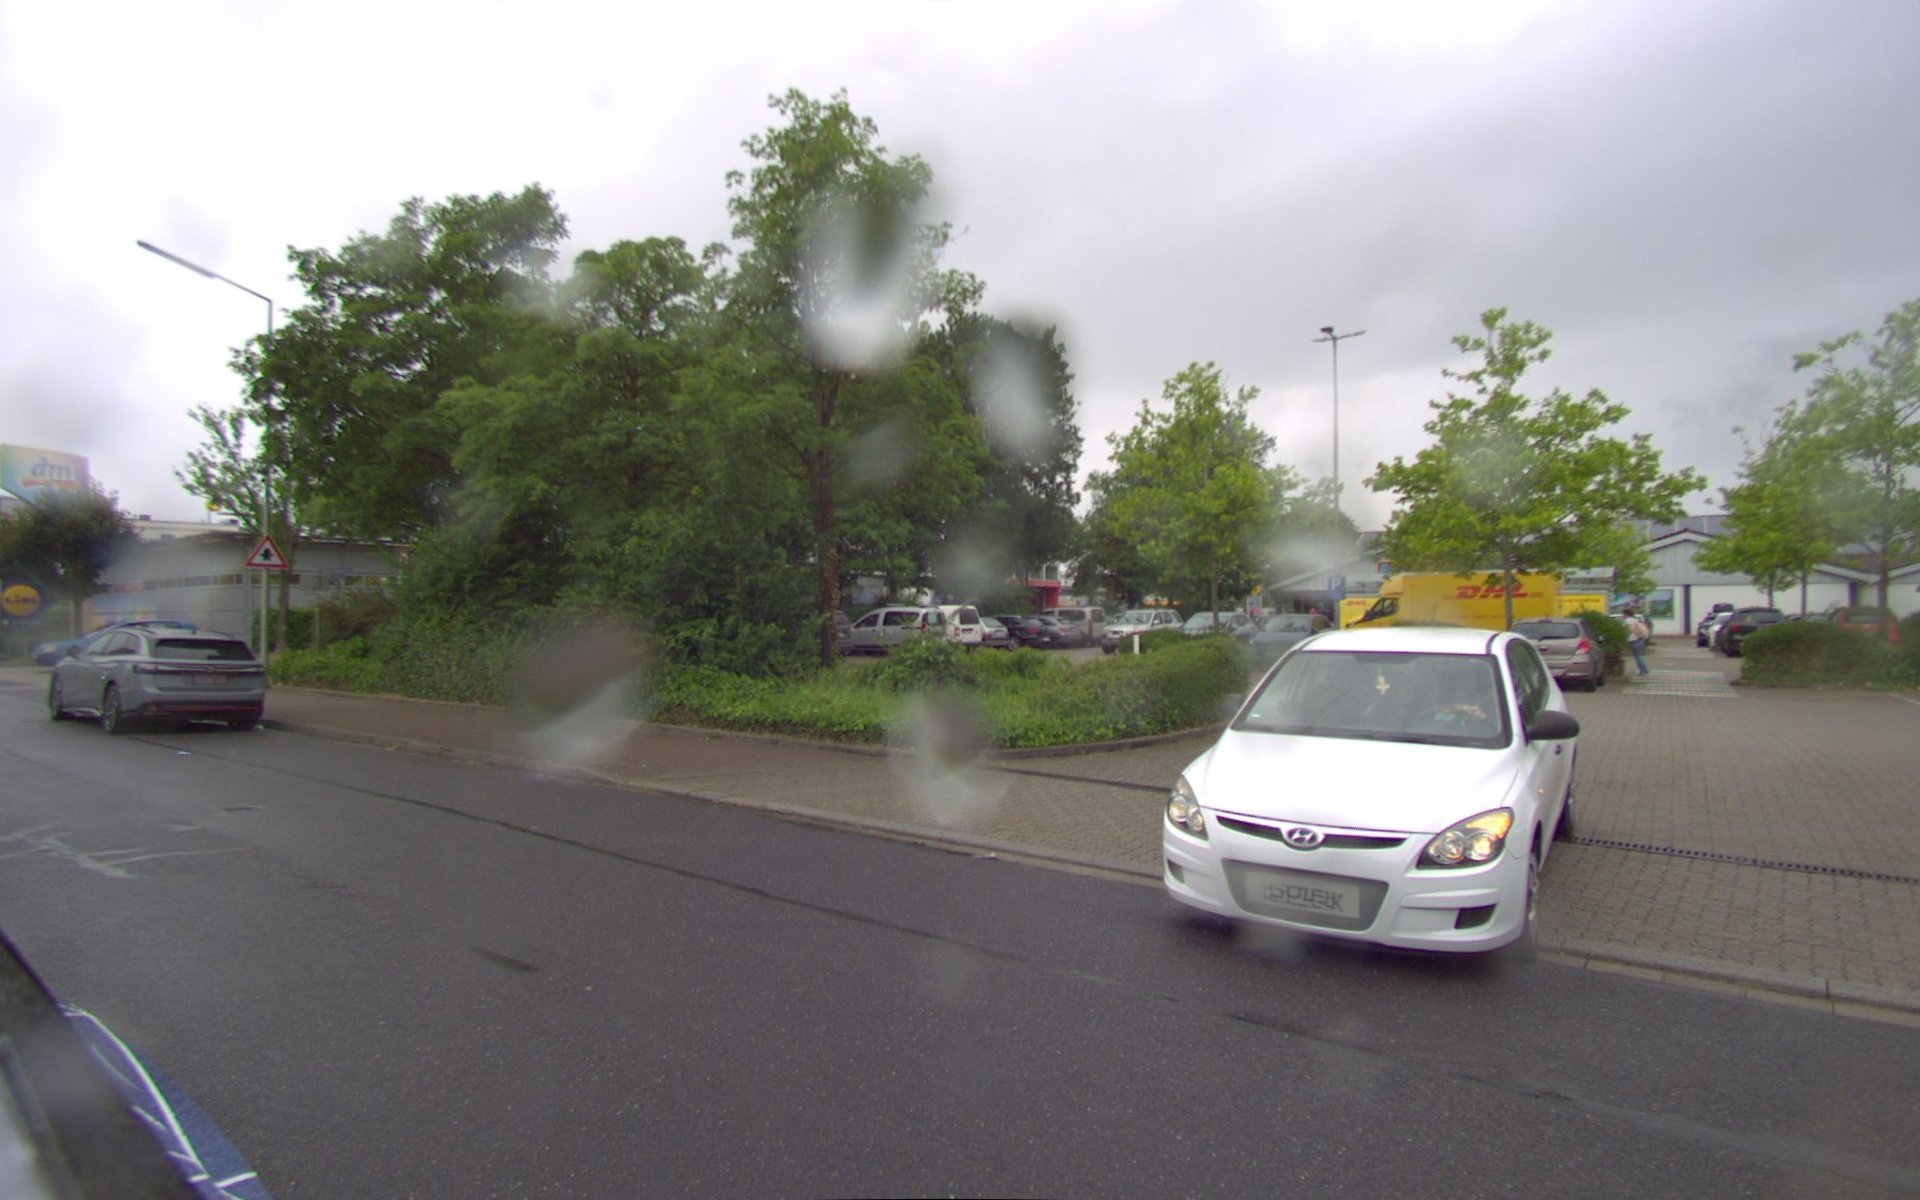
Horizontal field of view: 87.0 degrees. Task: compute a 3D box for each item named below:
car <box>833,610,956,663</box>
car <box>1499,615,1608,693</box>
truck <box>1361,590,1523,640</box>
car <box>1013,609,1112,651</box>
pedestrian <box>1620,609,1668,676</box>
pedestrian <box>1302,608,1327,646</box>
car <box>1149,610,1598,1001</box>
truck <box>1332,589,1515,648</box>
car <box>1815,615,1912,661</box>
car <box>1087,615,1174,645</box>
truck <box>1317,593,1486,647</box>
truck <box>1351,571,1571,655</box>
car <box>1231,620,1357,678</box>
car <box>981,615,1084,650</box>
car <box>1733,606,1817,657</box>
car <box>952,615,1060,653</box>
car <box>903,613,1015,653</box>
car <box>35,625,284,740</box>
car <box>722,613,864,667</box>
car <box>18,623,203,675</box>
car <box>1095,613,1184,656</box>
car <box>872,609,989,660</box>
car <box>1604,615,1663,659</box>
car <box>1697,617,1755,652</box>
[{"bbox_3d":[-2.339,1.272,36.000,3.985,1.807,1.979,-1,-1,31],"label":"car"},{"bbox_3d":[12.591,1.082,21.359,1.708,1.471,4.155,-1,-2,34],"label":"car"},{"bbox_3d":[20.889,0.680,44.004,6.120,2.076,1.976,-1,-2,35],"label":"truck"},{"bbox_3d":[4.614,1.334,45.546,3.985,1.829,1.979,-1,-1,31],"label":"car"},{"bbox_3d":[17.037,1.055,25.221,0.762,1.646,0.774,-1,-1,16],"label":"pedestrian"},{"bbox_3d":[18.921,1.424,53.957,0.910,1.977,1.292,-1,-2,36],"label":"pedestrian"},{"bbox_3d":[2.780,0.823,6.132,1.708,1.471,4.155,-1,-1,34],"label":"car"},{"bbox_3d":[17.698,0.725,38.810,6.120,2.110,1.976,-1,-2,35],"label":"truck"},{"bbox_3d":[28.190,1.156,31.684,1.998,1.356,3.948,-1,-2,39],"label":"car"},{"bbox_3d":[8.749,1.530,52.082,3.985,1.497,1.979,-1,-1,31],"label":"car"},{"bbox_3d":[18.140,0.852,41.731,6.120,2.076,1.976,-1,-2,35],"label":"truck"},{"bbox_3d":[16.864,0.471,34.326,6.388,2.621,1.974,-1,-2,39],"label":"truck"},{"bbox_3d":[9.259,1.298,27.916,1.998,1.431,3.946,-2,-2,40],"label":"car"},{"bbox_3d":[3.132,1.384,43.584,3.985,1.431,1.979,-1,-1,31],"label":"car"},{"bbox_3d":[26.305,0.998,32.718,1.998,1.533,3.948,-1,-2,39],"label":"car"},{"bbox_3d":[1.883,1.388,41.556,3.985,1.497,1.979,-1,-1,31],"label":"car"},{"bbox_3d":[-0.055,1.264,39.791,3.985,1.497,1.979,-1,-1,31],"label":"car"},{"bbox_3d":[-12.632,1.223,15.873,4.738,1.540,1.792,-1,-5,36],"label":"car"},{"bbox_3d":[-5.198,1.214,31.493,3.978,1.586,1.983,-1,-1,26],"label":"car"},{"bbox_3d":[-25.366,1.438,30.348,1.733,1.452,3.951,-2,-3,36],"label":"car"},{"bbox_3d":[7.002,1.308,39.164,2.020,1.562,4.248,-1,-1,31],"label":"car"},{"bbox_3d":[-1.115,1.267,37.772,3.985,1.807,1.979,-1,-1,31],"label":"car"},{"bbox_3d":[32.715,1.737,49.116,1.998,2.029,3.947,-1,-1,39],"label":"car"},{"bbox_3d":[34.972,1.543,46.151,1.998,1.533,3.948,-1,-2,39],"label":"car"}]
